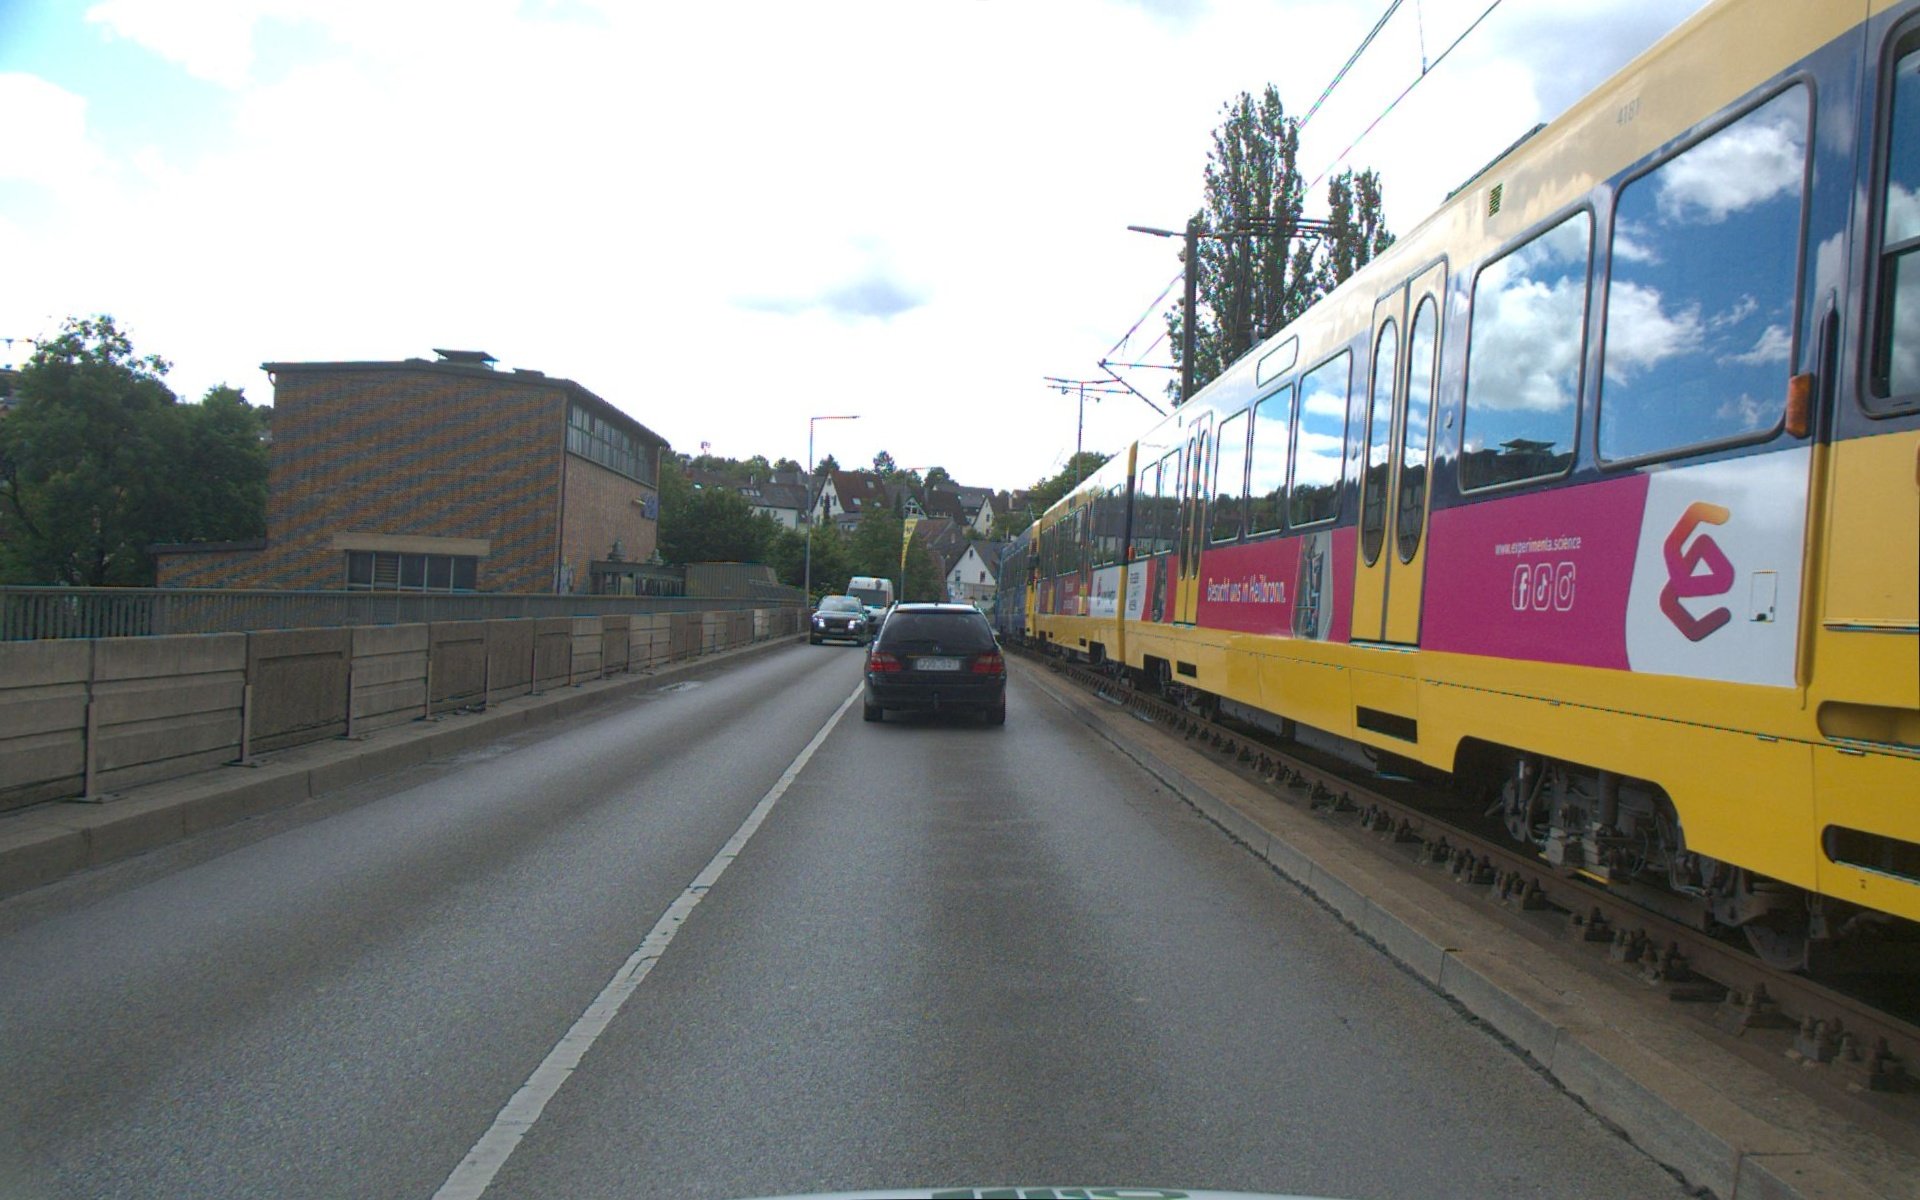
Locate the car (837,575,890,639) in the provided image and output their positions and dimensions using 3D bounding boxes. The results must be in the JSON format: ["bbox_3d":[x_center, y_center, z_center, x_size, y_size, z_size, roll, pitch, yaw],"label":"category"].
[{"bbox_3d":[-4.174,0.267,72.556,1.992,2.606,7.006,1,0,-1],"label":"car"}]

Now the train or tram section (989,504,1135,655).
[{"bbox_3d":[2.694,-0.424,50.673,2.728,3.720,19.885,0,0,-2],"label":"train or tram section"}]

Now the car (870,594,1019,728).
[{"bbox_3d":[-0.255,0.704,21.607,1.723,1.542,4.440,1,0,-2],"label":"car"}]

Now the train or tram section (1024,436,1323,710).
[{"bbox_3d":[3.220,-0.381,31.397,2.772,3.643,18.661,0,0,-2],"label":"train or tram section"}]

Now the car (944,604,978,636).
[{"bbox_3d":[0.076,1.051,87.916,1.734,1.582,4.241,3,-1,1],"label":"car"}]

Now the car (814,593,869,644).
[{"bbox_3d":[-4.045,0.597,56.832,1.681,1.674,3.999,0,0,-2],"label":"car"}]

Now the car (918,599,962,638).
[{"bbox_3d":[-0.909,0.791,72.361,1.757,1.582,4.383,2,0,-2],"label":"car"}]

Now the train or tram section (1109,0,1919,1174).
[{"bbox_3d":[3.649,-0.333,12.722,2.824,3.571,18.661,0,0,-2],"label":"train or tram section"}]

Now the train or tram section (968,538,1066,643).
[{"bbox_3d":[2.143,-0.274,70.601,2.737,3.830,19.883,1,0,-2],"label":"train or tram section"}]

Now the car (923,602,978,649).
[{"bbox_3d":[-0.376,0.870,58.514,1.735,1.582,4.238,1,0,-3],"label":"car"}]
